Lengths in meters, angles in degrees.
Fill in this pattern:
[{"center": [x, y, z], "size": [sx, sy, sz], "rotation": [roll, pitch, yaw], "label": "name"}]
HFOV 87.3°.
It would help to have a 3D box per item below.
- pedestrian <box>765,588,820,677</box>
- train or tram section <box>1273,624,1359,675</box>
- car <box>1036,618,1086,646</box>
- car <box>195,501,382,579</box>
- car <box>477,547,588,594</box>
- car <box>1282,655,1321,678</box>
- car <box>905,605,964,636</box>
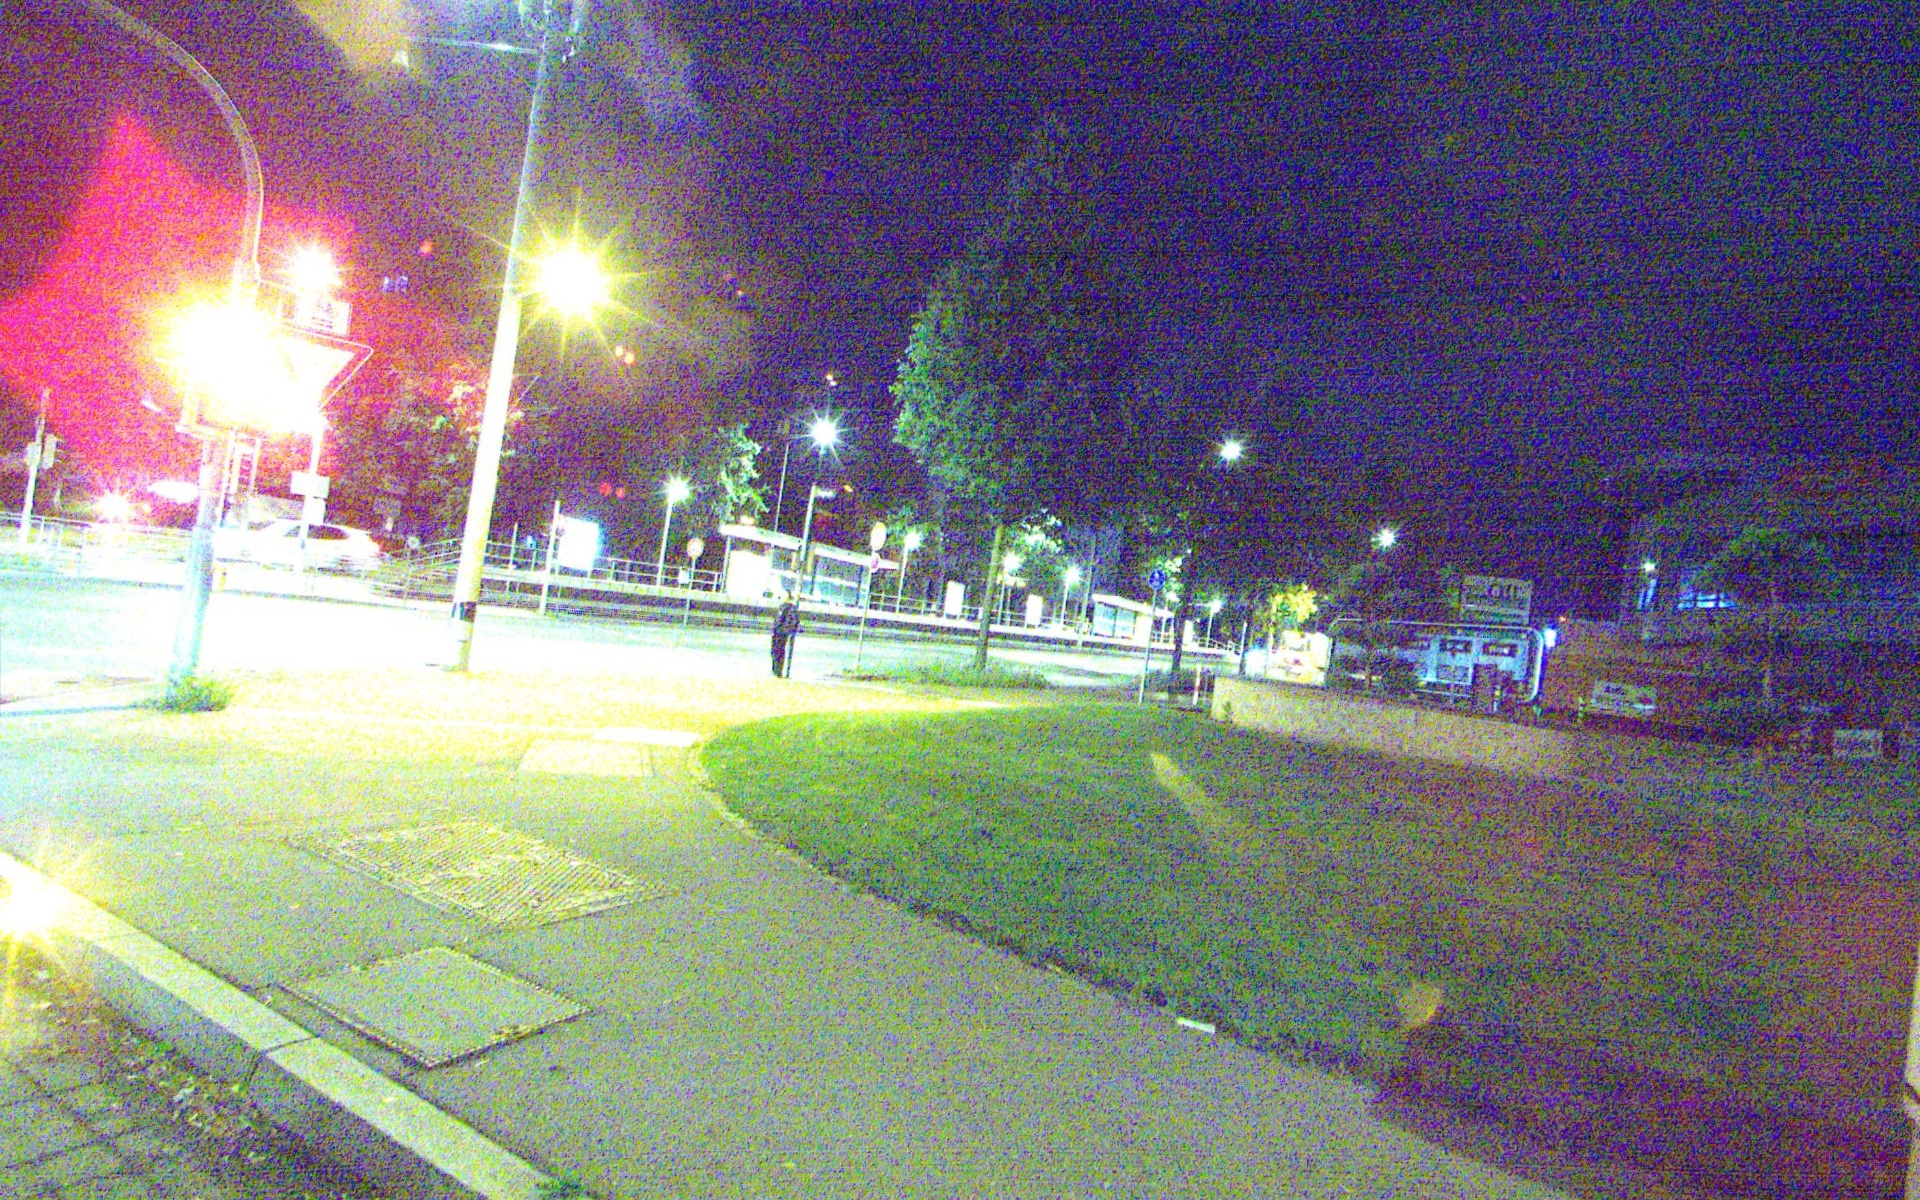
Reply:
[{"center": [-3.262, 0.623, 19.564], "size": [0.867, 1.677, 0.835], "rotation": [2, 1, -18], "label": "pedestrian"}, {"center": [36.265, 5.160, 101.577], "size": [2.918, 3.896, 18.427], "rotation": [8, 0, 35], "label": "train or tram section"}, {"center": [7.967, 2.519, 79.013], "size": [1.816, 1.603, 4.578], "rotation": [8, -2, 33], "label": "car"}, {"center": [-22.428, -1.968, 33.810], "size": [1.814, 1.865, 4.784], "rotation": [5, -2, 35], "label": "car"}, {"center": [-18.944, -1.292, 44.707], "size": [1.813, 1.441, 4.063], "rotation": [9, 0, 35], "label": "car"}, {"center": [25.331, 4.929, 74.634], "size": [1.617, 1.438, 3.687], "rotation": [7, 0, 35], "label": "car"}, {"center": [-1.764, 1.451, 69.937], "size": [1.776, 1.603, 4.237], "rotation": [5, -3, 36], "label": "car"}]
